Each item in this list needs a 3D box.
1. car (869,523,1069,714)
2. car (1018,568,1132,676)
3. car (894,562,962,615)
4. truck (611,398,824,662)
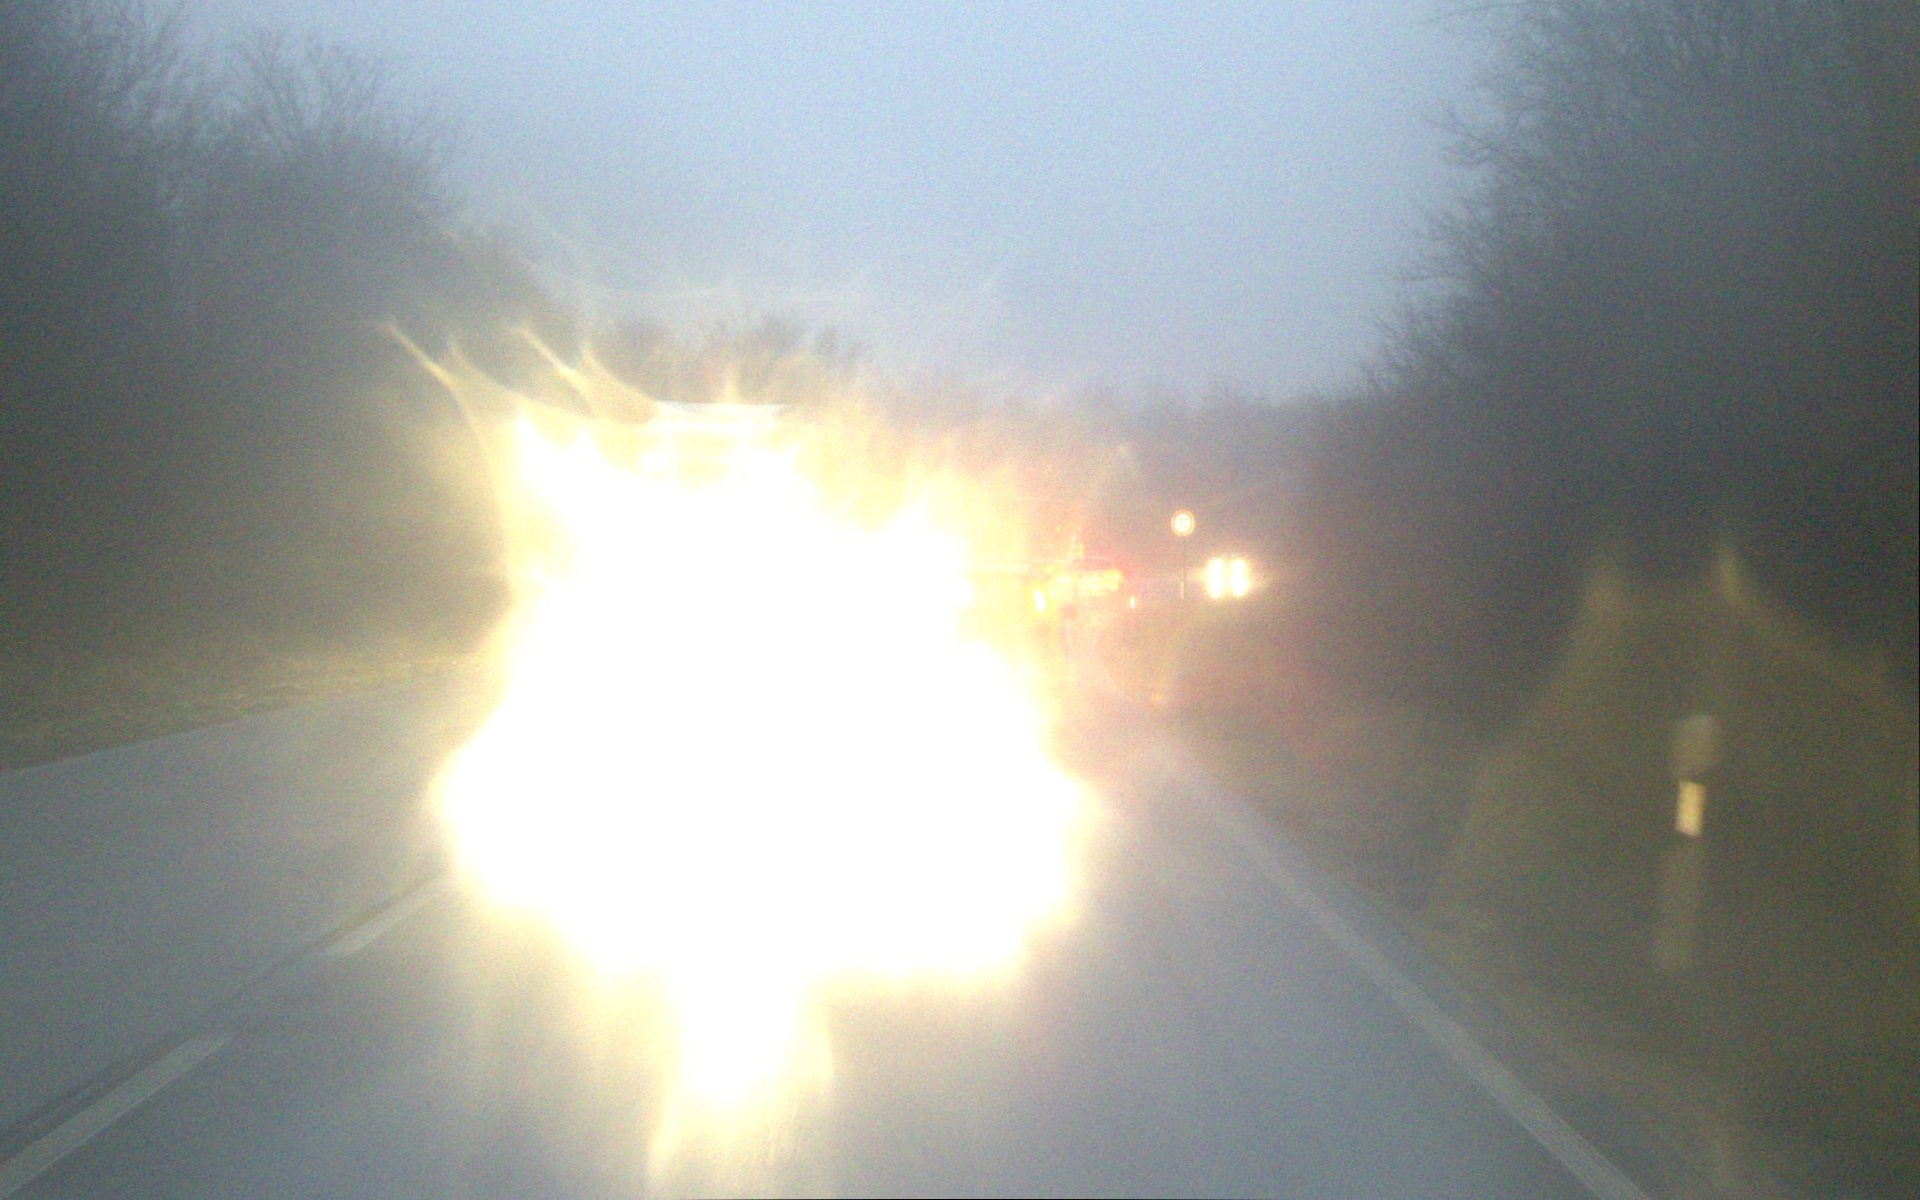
[{"bbox_3d":[0.050,0.124,31.933,1.727,1.637,4.000,-1,1,-1],"label":"car"},{"bbox_3d":[2.289,0.400,67.498,1.994,2.007,3.999,-1,1,5],"label":"car"},{"bbox_3d":[-0.935,-0.352,101.534,1.745,1.468,4.483,2,1,2],"label":"car"},{"bbox_3d":[-3.950,-1.161,57.614,2.799,4.112,7.199,-1,1,2],"label":"truck"}]
